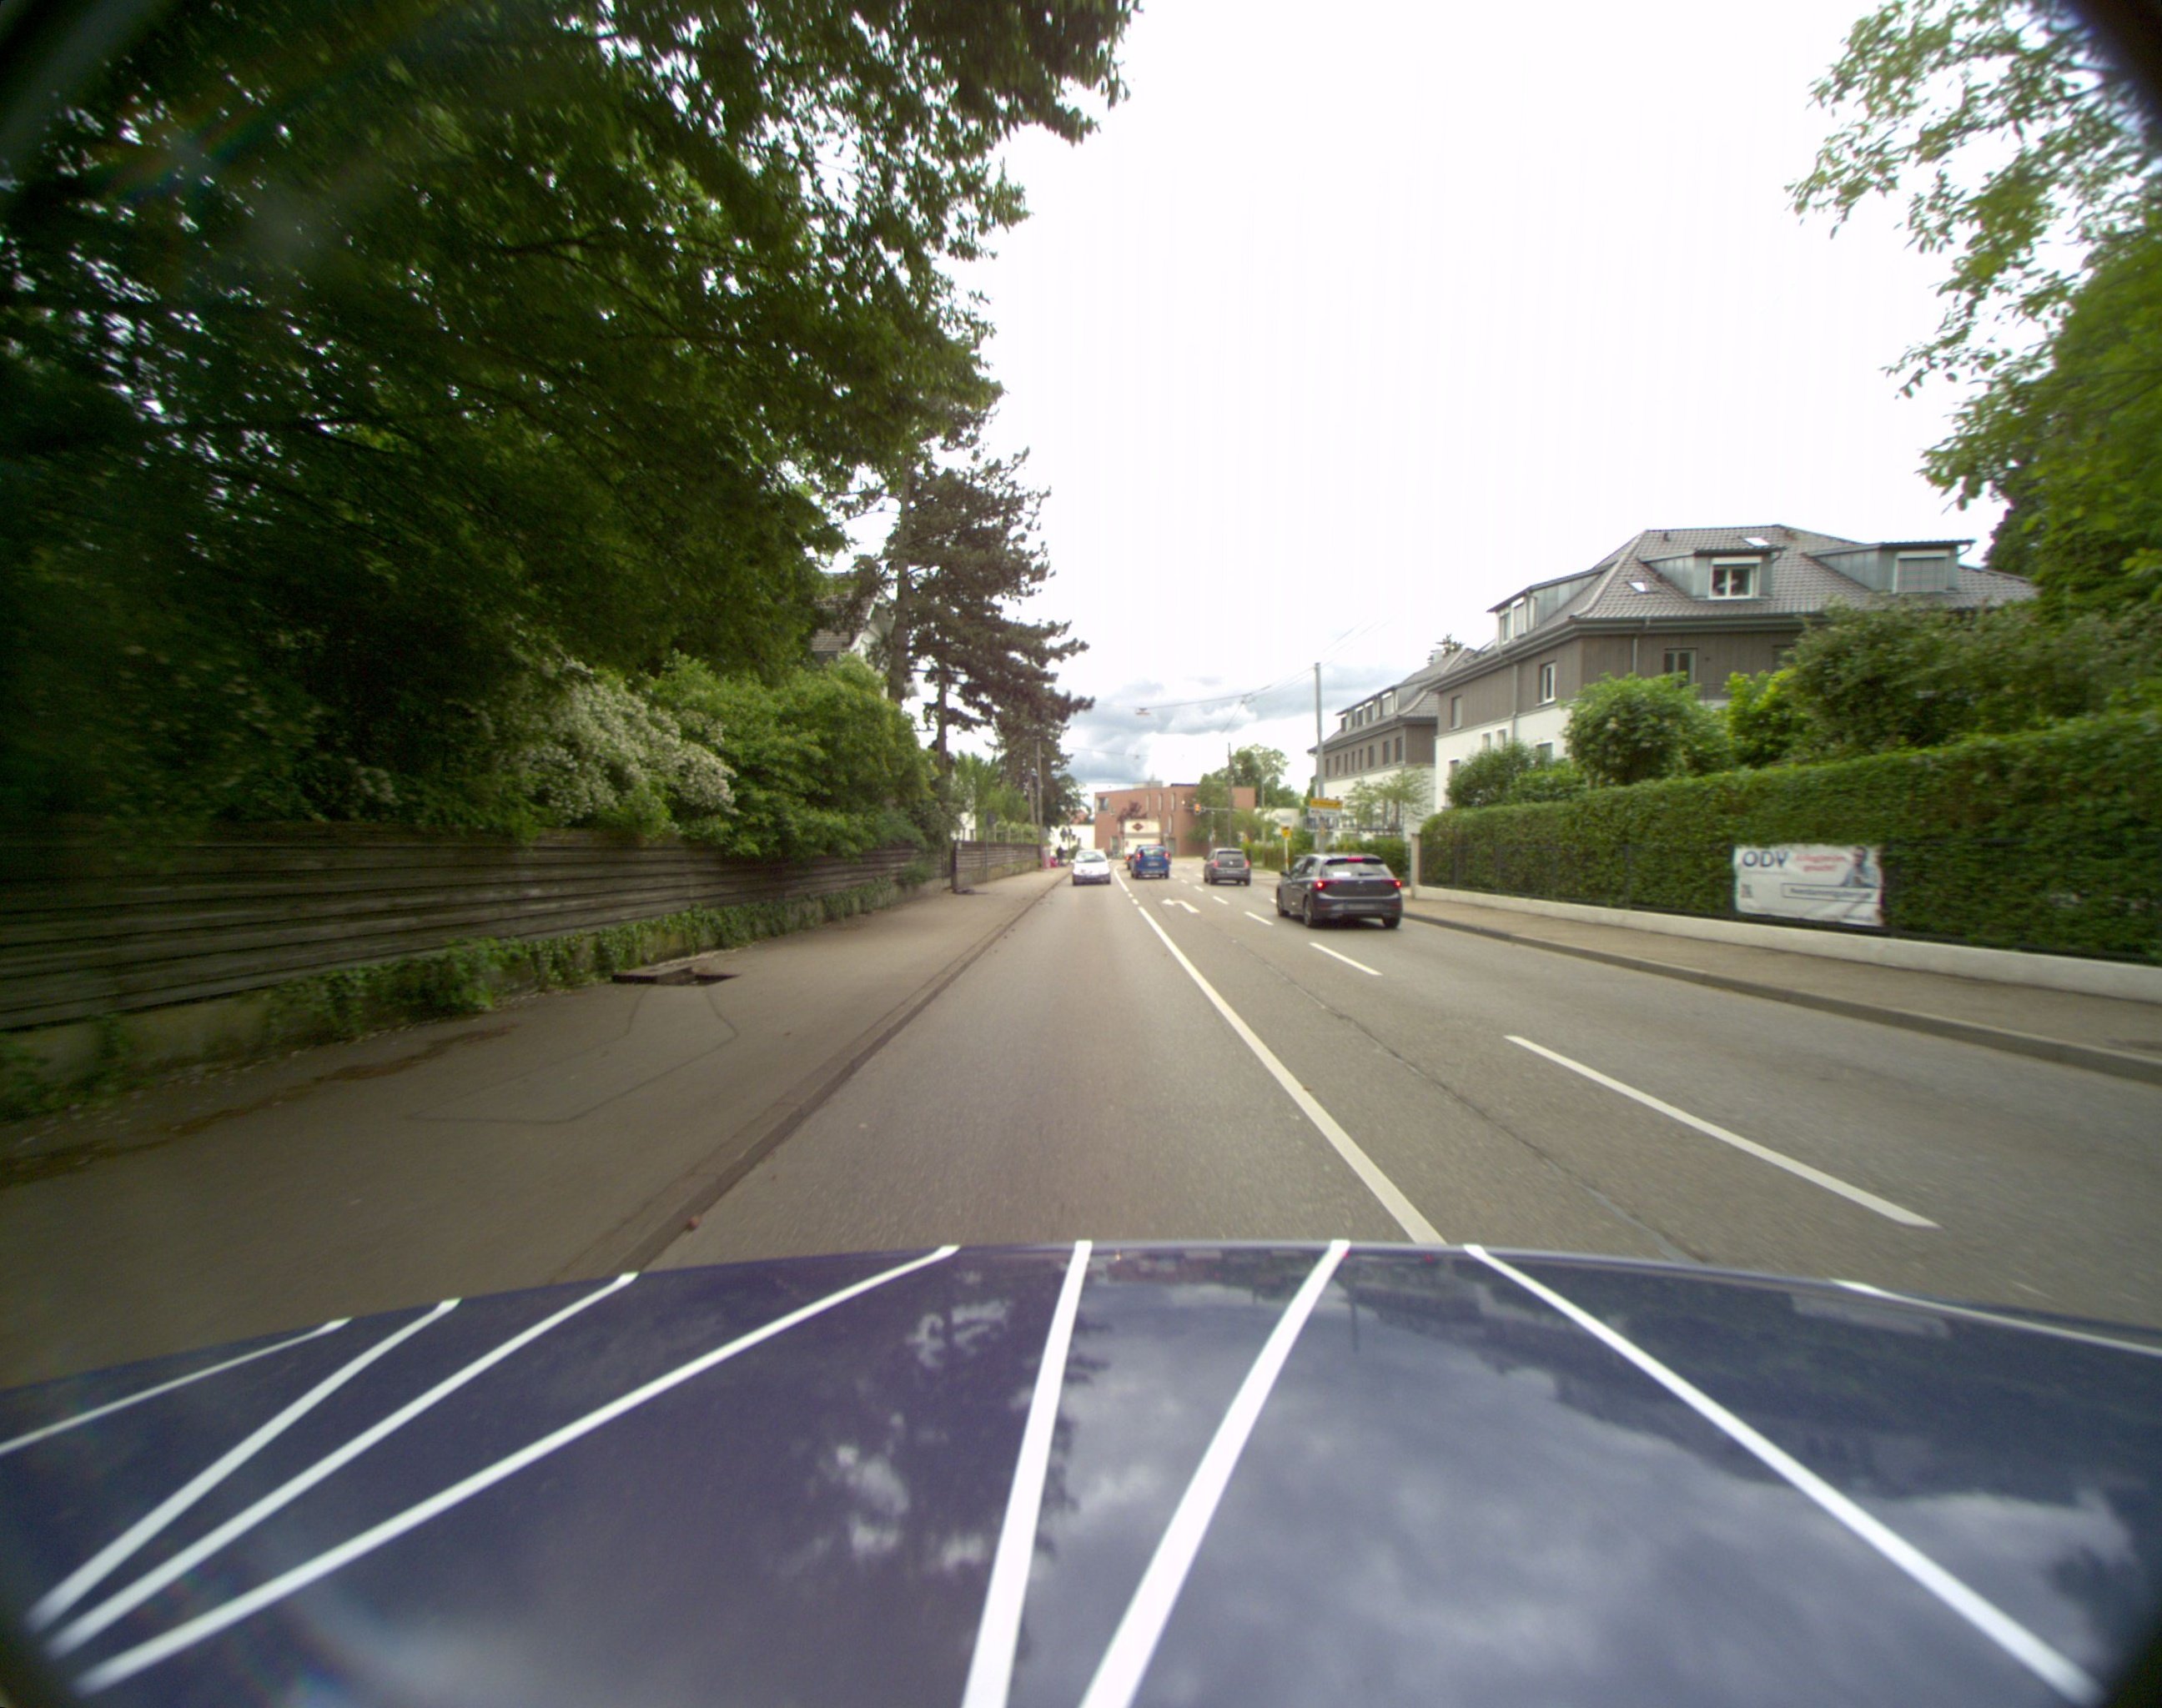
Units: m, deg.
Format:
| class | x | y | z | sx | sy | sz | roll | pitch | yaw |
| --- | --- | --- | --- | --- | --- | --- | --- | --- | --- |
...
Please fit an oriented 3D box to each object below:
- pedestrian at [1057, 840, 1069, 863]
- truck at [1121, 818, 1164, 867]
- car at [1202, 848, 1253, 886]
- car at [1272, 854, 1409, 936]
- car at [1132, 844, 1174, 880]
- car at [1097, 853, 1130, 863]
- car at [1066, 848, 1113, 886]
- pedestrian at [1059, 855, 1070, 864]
| class | x | y | z | sx | sy | sz | roll | pitch | yaw |
| --- | --- | --- | --- | --- | --- | --- | --- | --- | --- |
| pedestrian | -1.554 | -0.240 | 64.756 | 0.849 | 1.912 | 0.800 | -1 | 1 | -18 |
| truck | 4.519 | -0.913 | 56.723 | 2.784 | 3.442 | 7.492 | 0 | 2 | 2 |
| car | 6.223 | 0.510 | 32.546 | 1.688 | 1.510 | 3.536 | 0 | 0 | 4 |
| car | 5.172 | 0.741 | 15.692 | 1.684 | 1.463 | 4.018 | 0 | 0 | 3 |
| car | 3.655 | 0.384 | 39.123 | 1.810 | 1.707 | 4.378 | -1 | 0 | 2 |
| car | 4.942 | 0.628 | 115.545 | 4.442 | 1.549 | 1.996 | 0 | 0 | -23 |
| car | 0.412 | 0.545 | 34.725 | 1.998 | 1.587 | 4.000 | -1 | 0 | 2 |
| pedestrian | -1.375 | 0.467 | 63.772 | 0.648 | 0.692 | 0.583 | -1 | 1 | -40 |
